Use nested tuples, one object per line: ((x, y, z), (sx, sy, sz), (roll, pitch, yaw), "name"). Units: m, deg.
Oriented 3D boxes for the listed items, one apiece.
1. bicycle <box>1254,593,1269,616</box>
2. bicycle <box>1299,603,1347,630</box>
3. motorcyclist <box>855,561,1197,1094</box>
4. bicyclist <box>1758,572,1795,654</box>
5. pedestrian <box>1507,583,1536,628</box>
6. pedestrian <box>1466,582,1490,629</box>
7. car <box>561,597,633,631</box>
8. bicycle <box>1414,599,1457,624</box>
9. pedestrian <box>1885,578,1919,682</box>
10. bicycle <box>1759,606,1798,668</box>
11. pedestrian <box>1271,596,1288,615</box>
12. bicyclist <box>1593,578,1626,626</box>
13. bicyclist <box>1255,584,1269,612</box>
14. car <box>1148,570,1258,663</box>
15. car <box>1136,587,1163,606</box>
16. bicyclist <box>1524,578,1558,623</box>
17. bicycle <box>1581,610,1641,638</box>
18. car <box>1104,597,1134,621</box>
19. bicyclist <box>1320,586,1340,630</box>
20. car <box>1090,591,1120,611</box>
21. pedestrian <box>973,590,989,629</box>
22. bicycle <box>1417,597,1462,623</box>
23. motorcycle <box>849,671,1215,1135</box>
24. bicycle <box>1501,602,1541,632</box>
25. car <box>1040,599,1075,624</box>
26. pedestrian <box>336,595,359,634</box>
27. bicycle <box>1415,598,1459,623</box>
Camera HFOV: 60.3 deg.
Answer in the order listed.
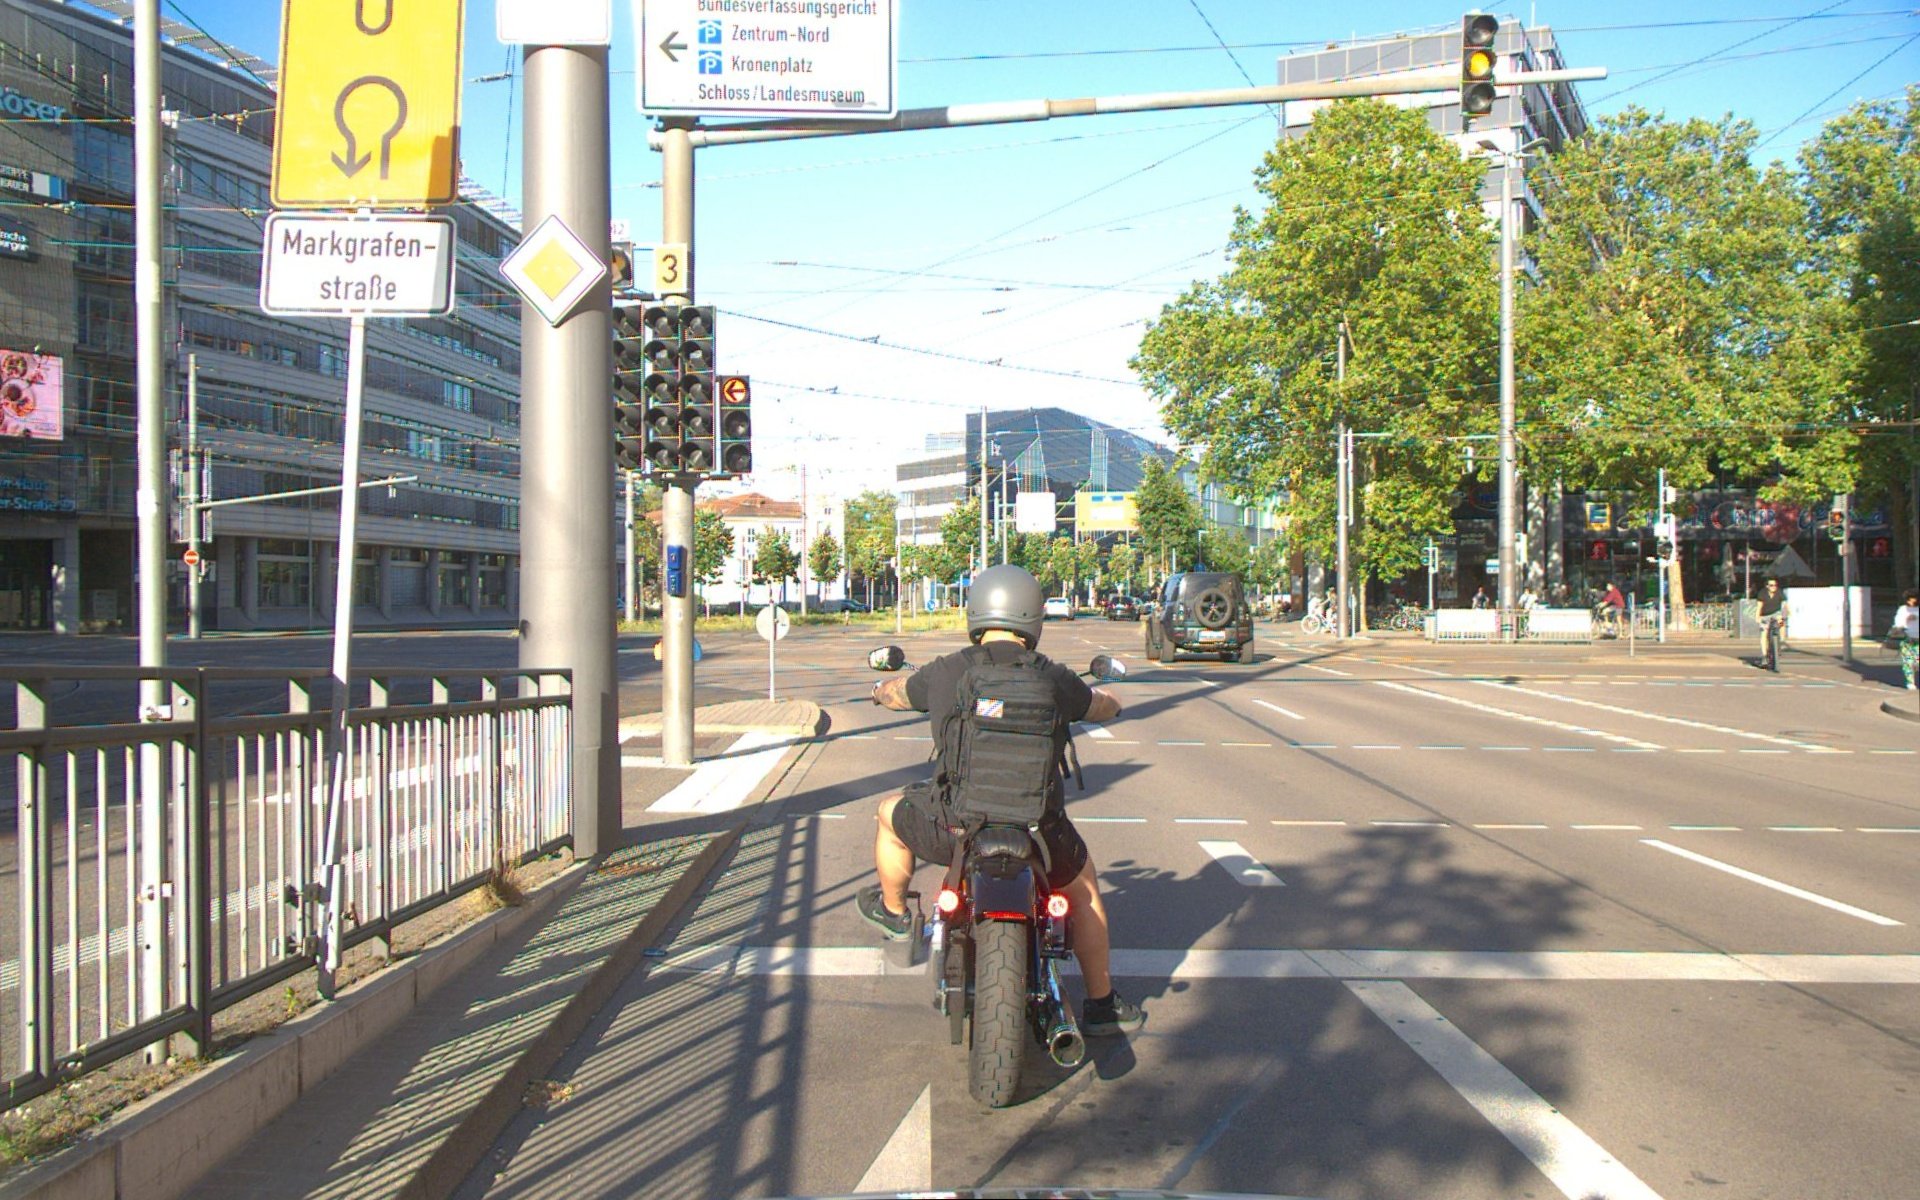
((20.328, 0.303, 111.350), (0.842, 1.507, 2.578), (0, 0, 14), "bicycle")
((14.363, 0.660, 65.445), (1.813, 1.039, 0.517), (-1, -1, 11), "bicycle")
((0.189, 0.677, 5.587), (1.001, 1.579, 1.286), (1, 0, -1), "motorcyclist")
((16.204, 0.258, 32.805), (0.567, 1.541, 0.849), (-4, 1, 27), "bicyclist")
((20.527, 0.192, 60.421), (0.757, 1.622, 0.834), (1, -1, 39), "pedestrian")
((21.455, 0.229, 68.451), (0.829, 1.884, 0.810), (2, 0, 14), "pedestrian")
((-17.155, 0.645, 78.360), (1.753, 1.491, 4.315), (-1, 1, 11), "car")
((19.437, 0.480, 67.585), (1.668, 1.003, 0.391), (0, 0, 13), "bicycle")
((15.998, 0.498, 27.928), (0.552, 1.733, 0.656), (0, -1, 38), "pedestrian")
((16.173, 0.723, 32.707), (0.589, 1.068, 1.880), (-5, 0, 26), "bicycle")
((17.549, 0.299, 90.927), (0.768, 1.075, 0.814), (0, 0, 22), "pedestrian")
((22.374, 0.077, 56.957), (0.906, 1.643, 0.638), (0, 0, 3), "bicyclist")
((20.320, -0.159, 111.411), (0.842, 1.873, 1.258), (0, 0, 14), "bicyclist")
((5.293, 0.347, 36.533), (2.010, 1.906, 4.228), (1, 0, 3), "car")
((16.999, -0.310, 148.290), (1.684, 1.686, 3.755), (0, 0, 19), "car")
((25.555, 0.011, 72.731), (1.201, 1.965, 0.835), (0, 0, 2), "bicyclist")
((22.410, 0.830, 56.955), (1.814, 0.926, 0.652), (0, 0, 3), "bicycle")
((10.574, 0.599, 109.945), (1.802, 1.490, 4.003), (1, 0, 8), "car")
((14.623, 0.297, 65.410), (0.727, 1.724, 0.570), (-1, -1, 10), "bicyclist")
((11.371, 0.089, 129.293), (1.735, 1.541, 3.735), (0, 0, 15), "car")
((0.879, 0.388, 69.341), (0.643, 1.610, 0.489), (0, 0, 3), "pedestrian")
((19.077, 0.394, 65.824), (1.668, 1.003, 0.391), (0, 0, 13), "bicycle")
((0.182, 0.883, 5.696), (0.985, 1.145, 2.323), (1, 0, -1), "motorcycle")
((20.497, 0.624, 60.392), (0.777, 1.070, 1.913), (1, -1, 39), "bicycle")
((6.350, 0.738, 107.219), (1.861, 1.534, 4.003), (1, 0, 9), "car")
((-29.981, 0.700, 80.935), (0.660, 1.855, 0.886), (-2, -1, 9), "pedestrian")
((19.229, 0.432, 66.671), (1.668, 1.003, 0.391), (0, 0, 13), "bicycle")
